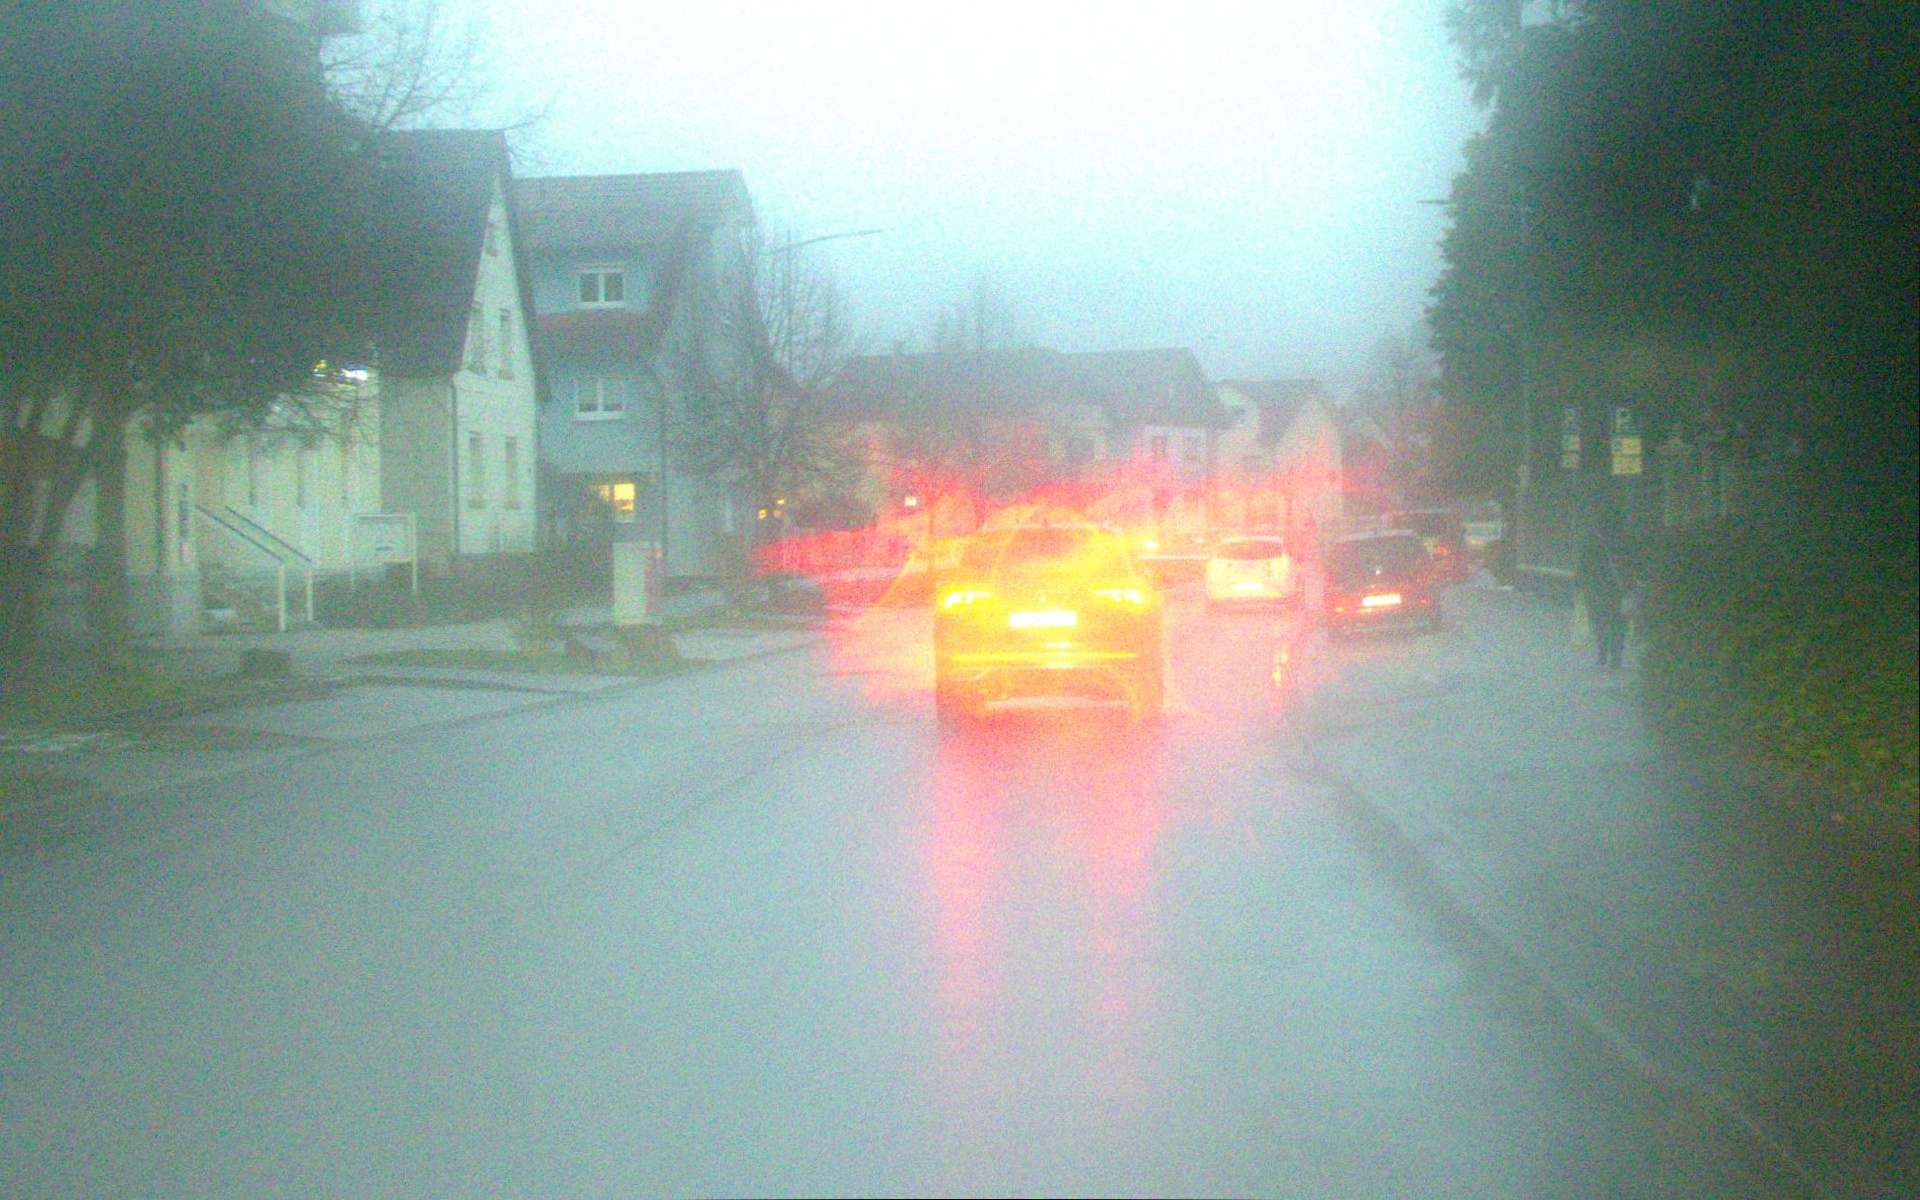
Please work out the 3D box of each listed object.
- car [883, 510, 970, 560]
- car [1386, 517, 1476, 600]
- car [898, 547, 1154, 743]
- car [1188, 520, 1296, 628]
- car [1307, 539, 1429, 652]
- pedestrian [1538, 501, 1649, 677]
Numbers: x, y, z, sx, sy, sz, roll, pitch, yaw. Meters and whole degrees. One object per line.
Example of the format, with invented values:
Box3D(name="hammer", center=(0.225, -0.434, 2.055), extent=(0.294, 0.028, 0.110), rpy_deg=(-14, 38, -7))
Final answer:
Box3D(name="car", center=(-1.384, -2.692, 142.350), extent=(1.996, 2.007, 3.994), rpy_deg=(2, 2, 26))
Box3D(name="car", center=(12.211, -1.101, 88.841), extent=(1.978, 2.007, 5.743), rpy_deg=(-2, 1, 10))
Box3D(name="car", center=(0.609, 0.325, 28.863), extent=(1.994, 1.520, 4.000), rpy_deg=(0, 1, 3))
Box3D(name="car", center=(5.440, -0.492, 66.063), extent=(1.994, 2.007, 3.999), rpy_deg=(1, 0, 5))
Box3D(name="car", center=(5.852, -0.076, 49.105), extent=(1.650, 1.535, 3.389), rpy_deg=(1, 0, 8))
Box3D(name="pedestrian", center=(6.457, -0.118, 35.088), extent=(0.987, 1.736, 1.055), rpy_deg=(-2, 0, 7))
